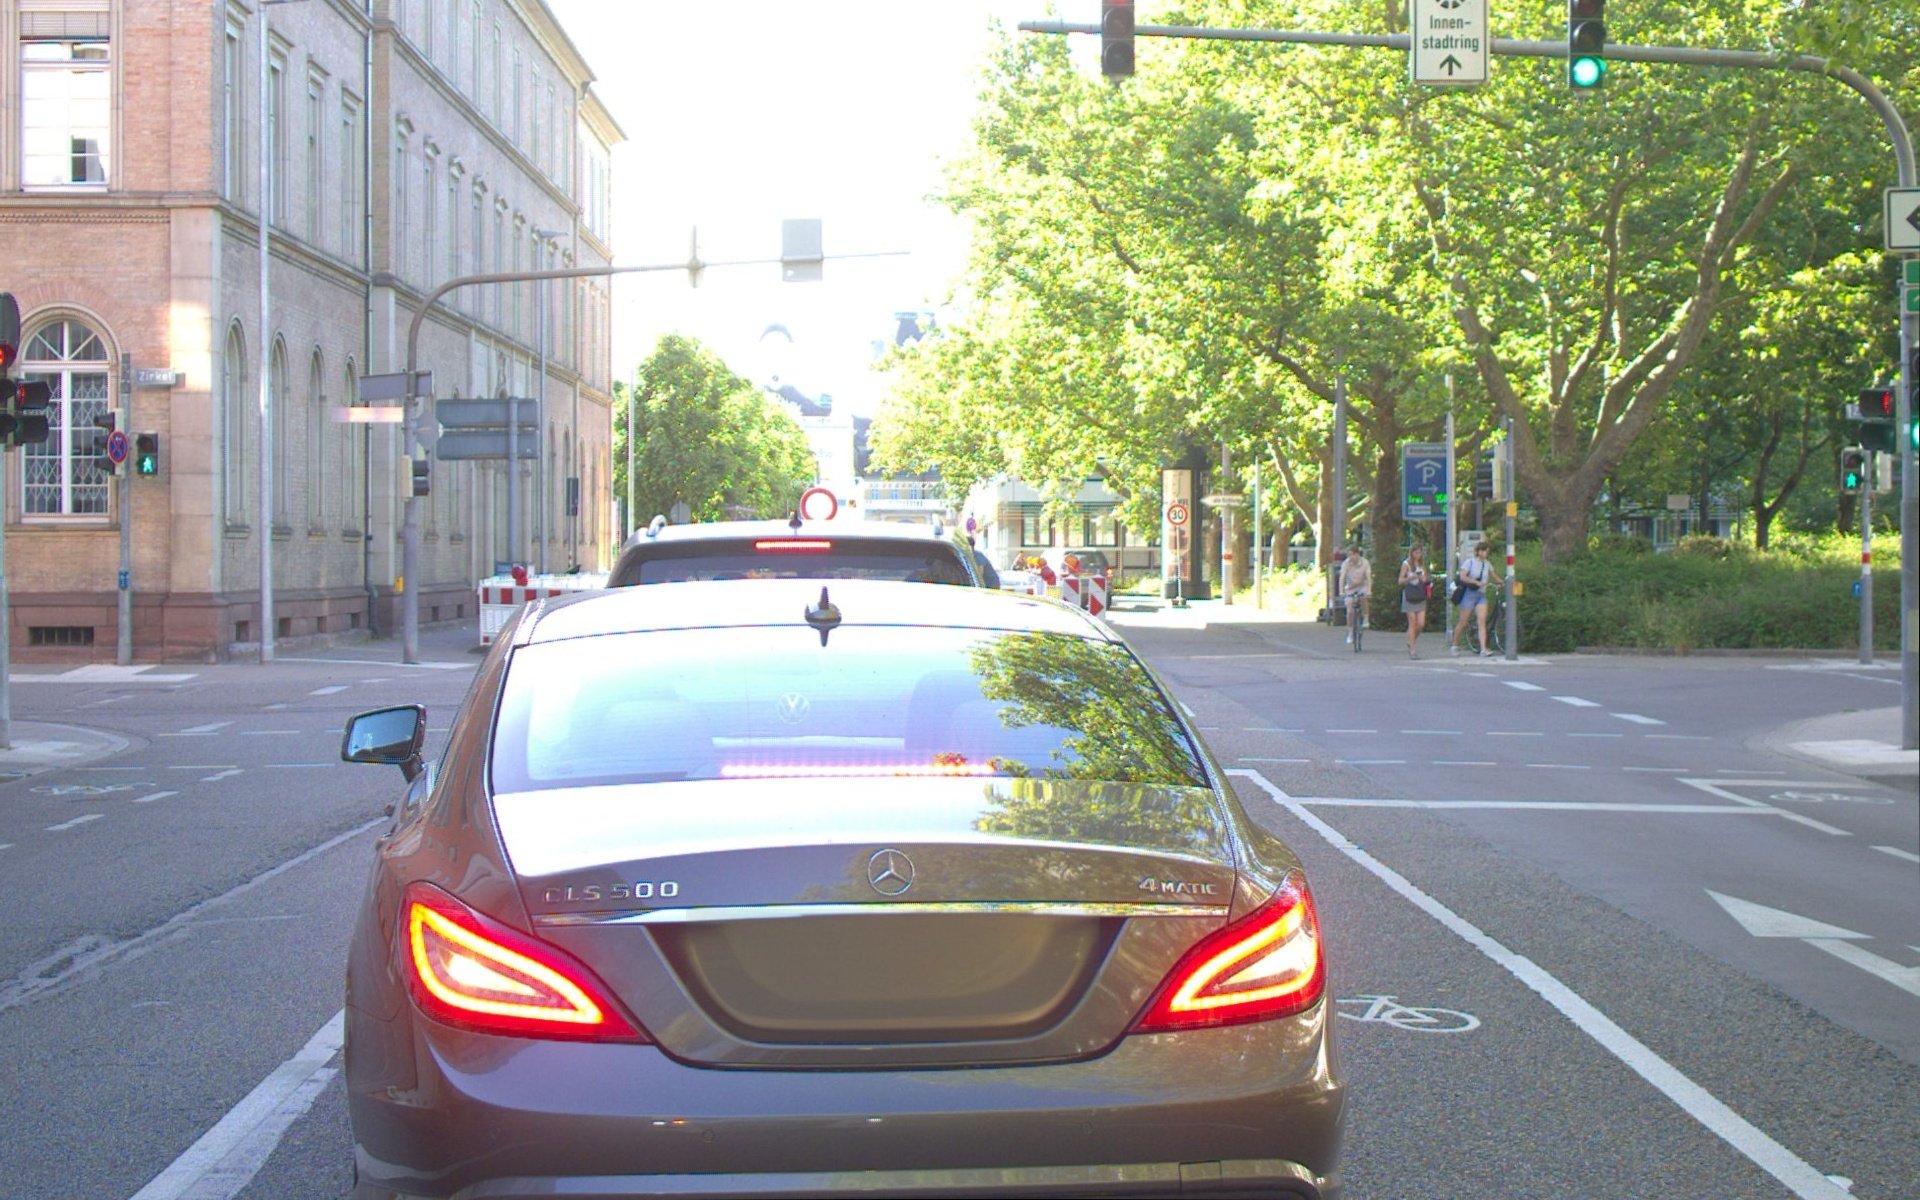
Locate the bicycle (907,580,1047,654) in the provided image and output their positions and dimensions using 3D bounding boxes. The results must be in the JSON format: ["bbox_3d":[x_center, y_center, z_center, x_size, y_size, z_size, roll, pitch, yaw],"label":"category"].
[{"bbox_3d":[0.254,0.244,50.067,1.957,1.059,0.706,0,1,-34],"label":"bicycle"}]

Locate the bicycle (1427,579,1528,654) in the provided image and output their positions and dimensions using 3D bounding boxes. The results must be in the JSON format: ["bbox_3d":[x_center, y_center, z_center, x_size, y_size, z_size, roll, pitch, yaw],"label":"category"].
[{"bbox_3d":[7.784,0.243,51.778,0.524,1.096,1.741,1,1,-30],"label":"bicycle"}]

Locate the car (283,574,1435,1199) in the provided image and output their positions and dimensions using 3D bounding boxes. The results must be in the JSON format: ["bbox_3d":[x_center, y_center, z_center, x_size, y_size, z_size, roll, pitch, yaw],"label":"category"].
[{"bbox_3d":[-0.414,0.674,7.762,1.842,1.424,4.518,1,1,-7],"label":"car"}]

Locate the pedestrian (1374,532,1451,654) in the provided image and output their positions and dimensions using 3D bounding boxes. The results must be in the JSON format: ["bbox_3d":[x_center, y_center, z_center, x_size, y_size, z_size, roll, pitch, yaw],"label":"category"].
[{"bbox_3d":[6.796,-0.100,51.635,0.732,1.802,0.909,0,-1,-27],"label":"pedestrian"}]

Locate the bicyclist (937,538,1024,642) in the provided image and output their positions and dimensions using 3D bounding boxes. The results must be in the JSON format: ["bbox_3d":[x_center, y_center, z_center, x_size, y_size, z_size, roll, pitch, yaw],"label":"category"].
[{"bbox_3d":[0.299,-0.145,50.055,0.950,1.495,0.822,1,0,-31],"label":"bicyclist"}]

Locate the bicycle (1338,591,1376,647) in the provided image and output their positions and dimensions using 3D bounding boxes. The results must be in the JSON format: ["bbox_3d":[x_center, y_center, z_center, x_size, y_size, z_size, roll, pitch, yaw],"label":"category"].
[{"bbox_3d":[6.499,0.304,56.230,0.548,0.888,1.867,1,1,8],"label":"bicycle"}]

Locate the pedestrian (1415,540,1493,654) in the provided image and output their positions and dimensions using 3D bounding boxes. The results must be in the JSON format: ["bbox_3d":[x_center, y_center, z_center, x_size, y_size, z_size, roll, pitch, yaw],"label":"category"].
[{"bbox_3d":[7.410,-0.043,51.591,0.683,1.691,0.971,1,0,-30],"label":"pedestrian"}]

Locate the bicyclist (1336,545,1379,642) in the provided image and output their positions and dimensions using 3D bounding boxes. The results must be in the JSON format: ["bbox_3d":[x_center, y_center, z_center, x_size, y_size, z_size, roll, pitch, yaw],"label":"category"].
[{"bbox_3d":[6.480,-0.113,56.042,0.648,1.553,0.806,1,0,9],"label":"bicyclist"}]

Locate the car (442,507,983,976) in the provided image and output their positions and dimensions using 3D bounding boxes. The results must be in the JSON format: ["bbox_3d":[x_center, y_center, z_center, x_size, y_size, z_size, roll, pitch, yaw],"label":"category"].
[{"bbox_3d":[-0.840,0.468,13.820,1.809,1.607,4.000,0,1,1],"label":"car"}]
